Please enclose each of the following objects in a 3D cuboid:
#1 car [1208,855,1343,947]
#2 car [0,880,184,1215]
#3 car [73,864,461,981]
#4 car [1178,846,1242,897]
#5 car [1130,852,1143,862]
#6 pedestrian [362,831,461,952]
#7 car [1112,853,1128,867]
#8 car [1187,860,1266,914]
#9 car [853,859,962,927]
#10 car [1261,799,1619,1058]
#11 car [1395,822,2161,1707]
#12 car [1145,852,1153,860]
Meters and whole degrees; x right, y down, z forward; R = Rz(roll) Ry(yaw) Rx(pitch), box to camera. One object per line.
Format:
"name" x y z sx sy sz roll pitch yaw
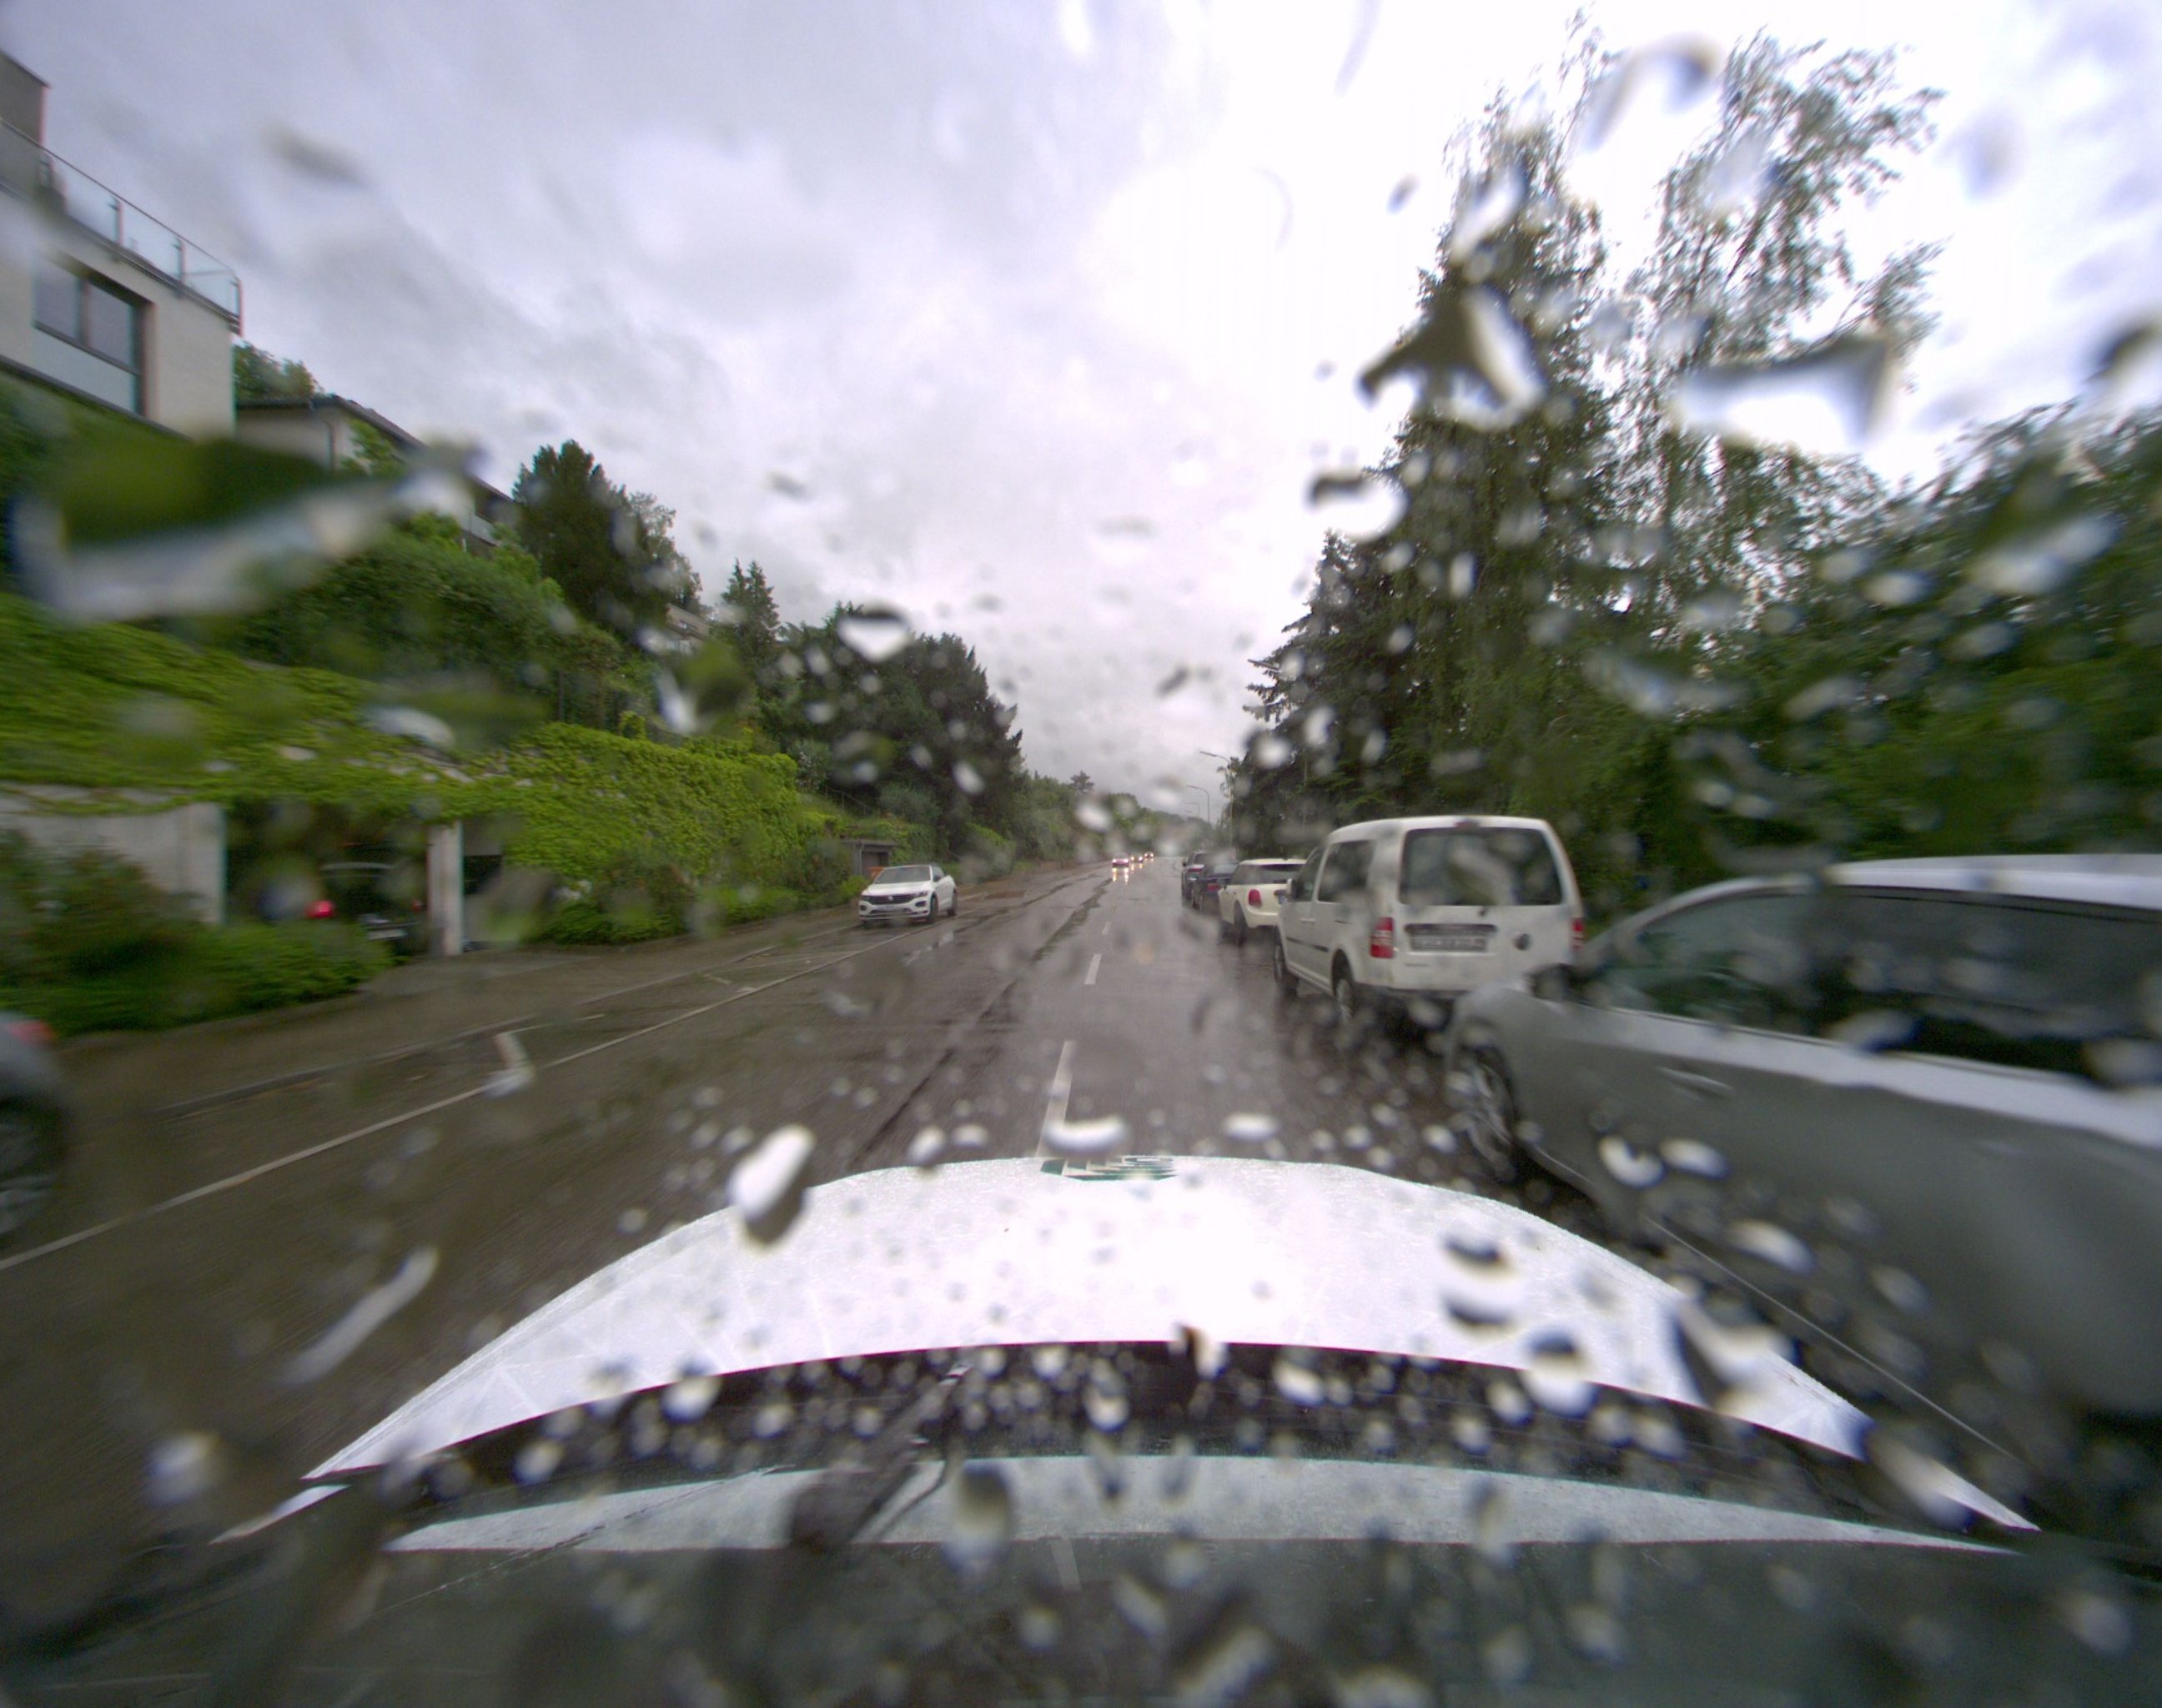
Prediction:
"car" 3.368 0.740 14.864 1.701 1.403 4.208 -2 0 4
"car" -5.527 0.904 2.268 1.750 1.402 3.770 -4 0 1
"car" -11.415 0.917 11.609 3.740 1.384 1.868 -2 0 4
"car" 4.513 0.580 29.036 1.807 1.645 4.400 -2 0 4
"car" 7.884 0.415 115.541 1.647 1.352 3.991 -2 0 4
"pedestrian" -10.850 0.596 13.226 0.838 1.880 0.903 -1 -1 5
"car" 4.160 0.621 87.099 1.656 1.461 3.663 -2 0 2
"car" 3.856 0.826 22.174 1.623 1.282 4.452 -2 0 4
"car" -4.346 0.924 21.049 1.749 1.498 4.221 -3 0 1
"car" 3.011 0.538 7.939 1.776 1.790 4.365 -2 0 4
"car" 2.634 0.661 2.671 1.781 1.460 4.313 -2 0 4
"car" 14.837 0.428 177.189 1.751 1.496 4.133 -2 0 5
